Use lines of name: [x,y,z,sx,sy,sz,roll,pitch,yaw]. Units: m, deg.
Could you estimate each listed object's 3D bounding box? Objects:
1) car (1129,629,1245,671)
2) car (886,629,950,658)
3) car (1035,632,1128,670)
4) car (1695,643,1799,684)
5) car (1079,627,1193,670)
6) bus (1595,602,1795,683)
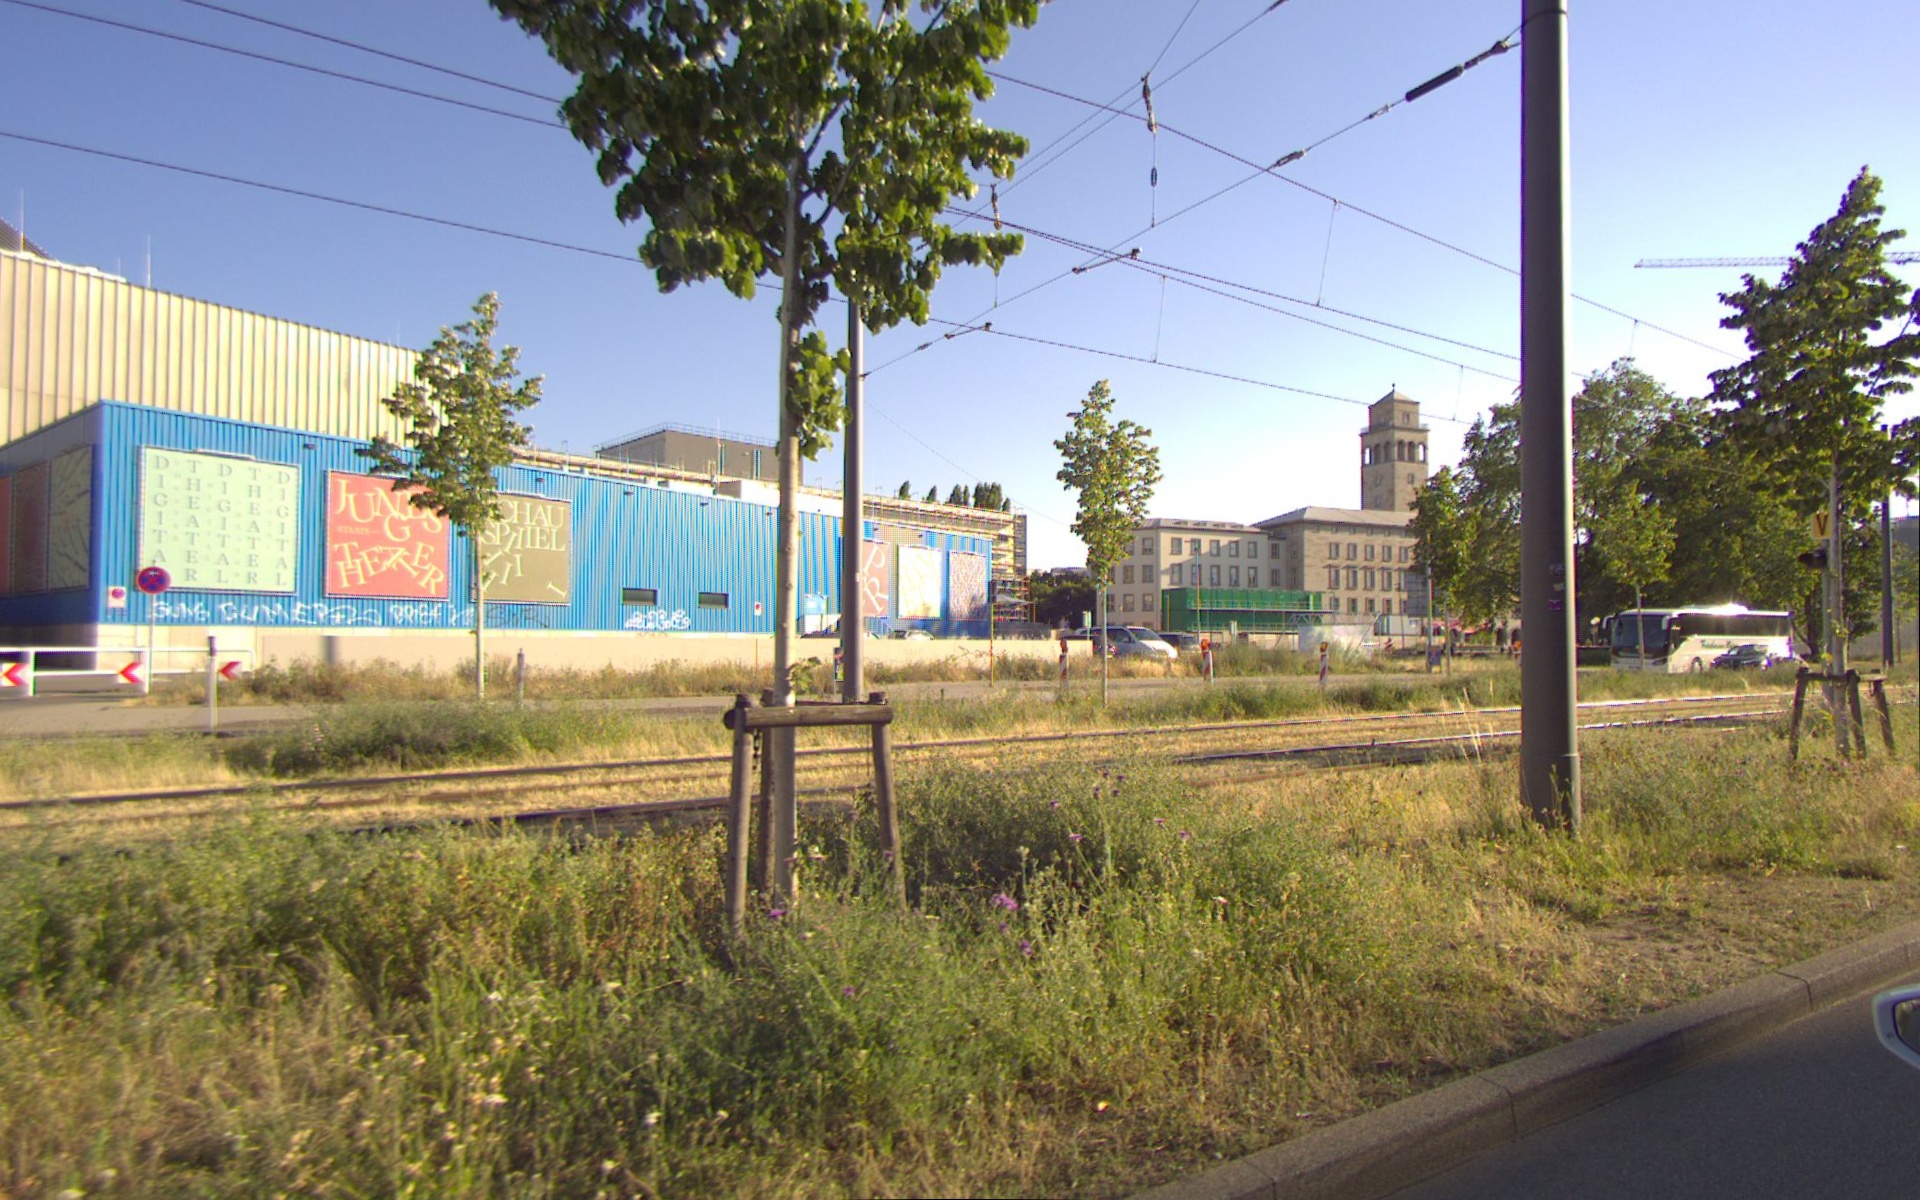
car: [9.889,2.169,44.252,2.099,1.739,5.206,1,-2,-28]
car: [-2.425,2.551,59.084,1.390,1.657,4.209,-1,-2,37]
car: [5.059,2.115,42.267,1.975,1.504,3.971,1,-2,-28]
car: [33.419,2.655,42.648,4.219,1.672,1.985,1,-2,-29]
car: [7.436,2.053,43.026,2.099,1.739,5.206,1,-2,-28]
bus: [36.499,2.092,49.671,12.538,3.642,2.788,1,-2,-28]
